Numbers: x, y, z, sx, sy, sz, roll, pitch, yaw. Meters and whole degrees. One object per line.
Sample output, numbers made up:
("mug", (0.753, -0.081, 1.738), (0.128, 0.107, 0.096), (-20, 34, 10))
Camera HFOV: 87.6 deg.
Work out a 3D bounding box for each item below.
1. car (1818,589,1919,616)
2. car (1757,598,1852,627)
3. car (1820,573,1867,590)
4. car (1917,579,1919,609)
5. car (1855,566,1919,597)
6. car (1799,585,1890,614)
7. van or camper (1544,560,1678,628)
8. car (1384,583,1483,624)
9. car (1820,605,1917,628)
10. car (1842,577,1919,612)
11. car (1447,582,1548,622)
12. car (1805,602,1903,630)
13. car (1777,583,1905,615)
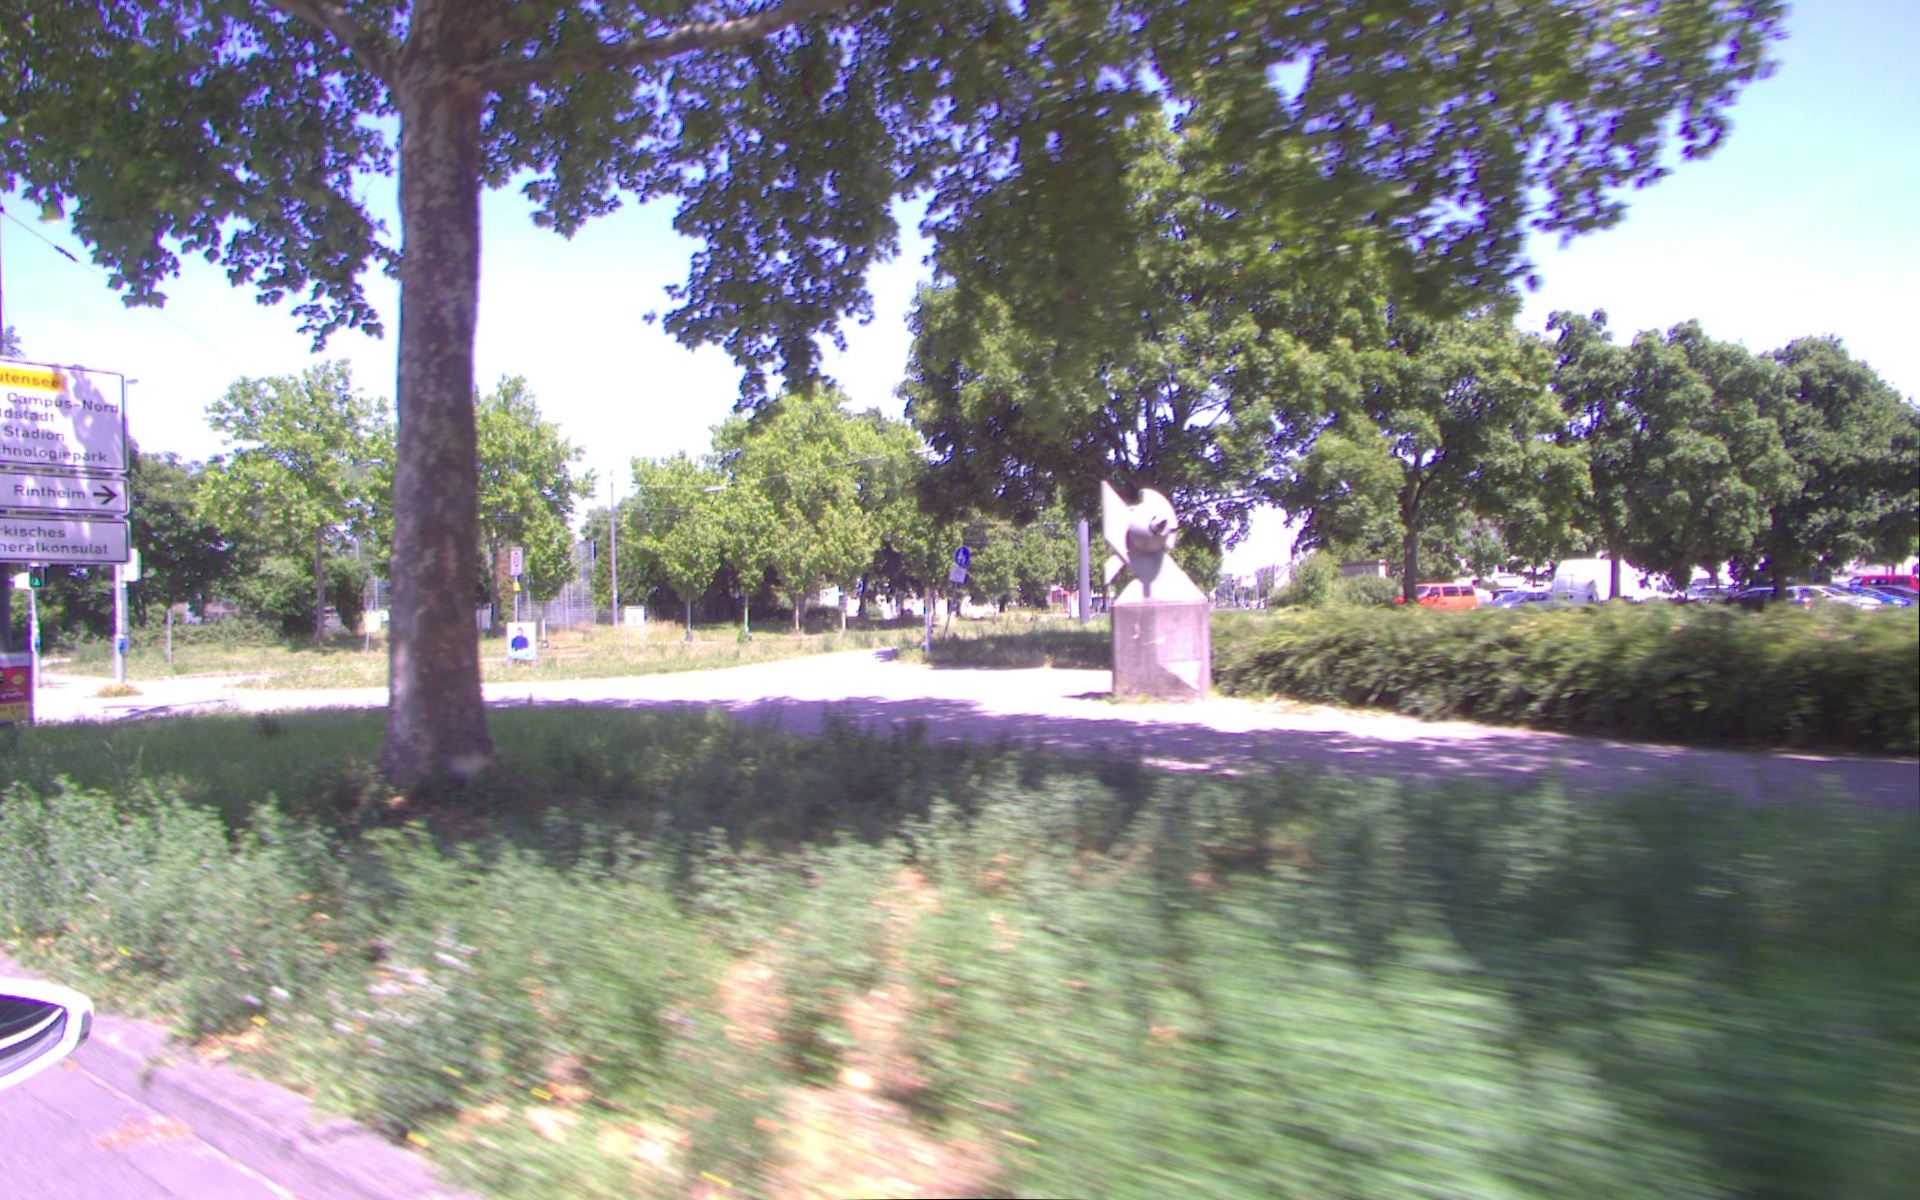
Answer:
("car", (37.887, 0.104, 41.211), (1.656, 1.048, 3.552), (-1, -1, -26))
("car", (31.913, 0.491, 37.896), (0.939, 1.049, 2.589), (-1, 0, -26))
("car", (92.369, -1.932, 104.708), (3.308, 1.639, 1.440), (-1, 0, 17))
("car", (45.688, -0.298, 45.062), (1.691, 1.383, 3.413), (-1, -1, -26))
("car", (105.918, -2.096, 112.958), (3.156, 3.223, 7.141), (-1, 0, -42))
("car", (35.646, -0.003, 40.393), (0.991, 1.141, 2.589), (-1, 0, -26))
("van or camper", (28.128, -0.268, 43.292), (5.040, 2.787, 2.198), (-1, 0, -19))
("car", (24.779, 0.180, 52.462), (4.583, 2.029, 2.069), (-1, 0, -20))
("car", (34.782, 0.643, 38.379), (0.939, 0.852, 2.589), (-1, -1, -26))
("car", (57.901, -0.320, 62.368), (1.936, 2.040, 3.986), (-1, 0, -24))
("car", (24.984, 0.103, 46.554), (4.001, 1.740, 1.952), (-1, 0, -20))
("car", (33.672, 0.607, 37.769), (0.939, 1.000, 2.589), (-1, -1, -26))
("car", (35.458, -0.021, 40.398), (1.595, 1.241, 3.559), (-1, 0, -26))
